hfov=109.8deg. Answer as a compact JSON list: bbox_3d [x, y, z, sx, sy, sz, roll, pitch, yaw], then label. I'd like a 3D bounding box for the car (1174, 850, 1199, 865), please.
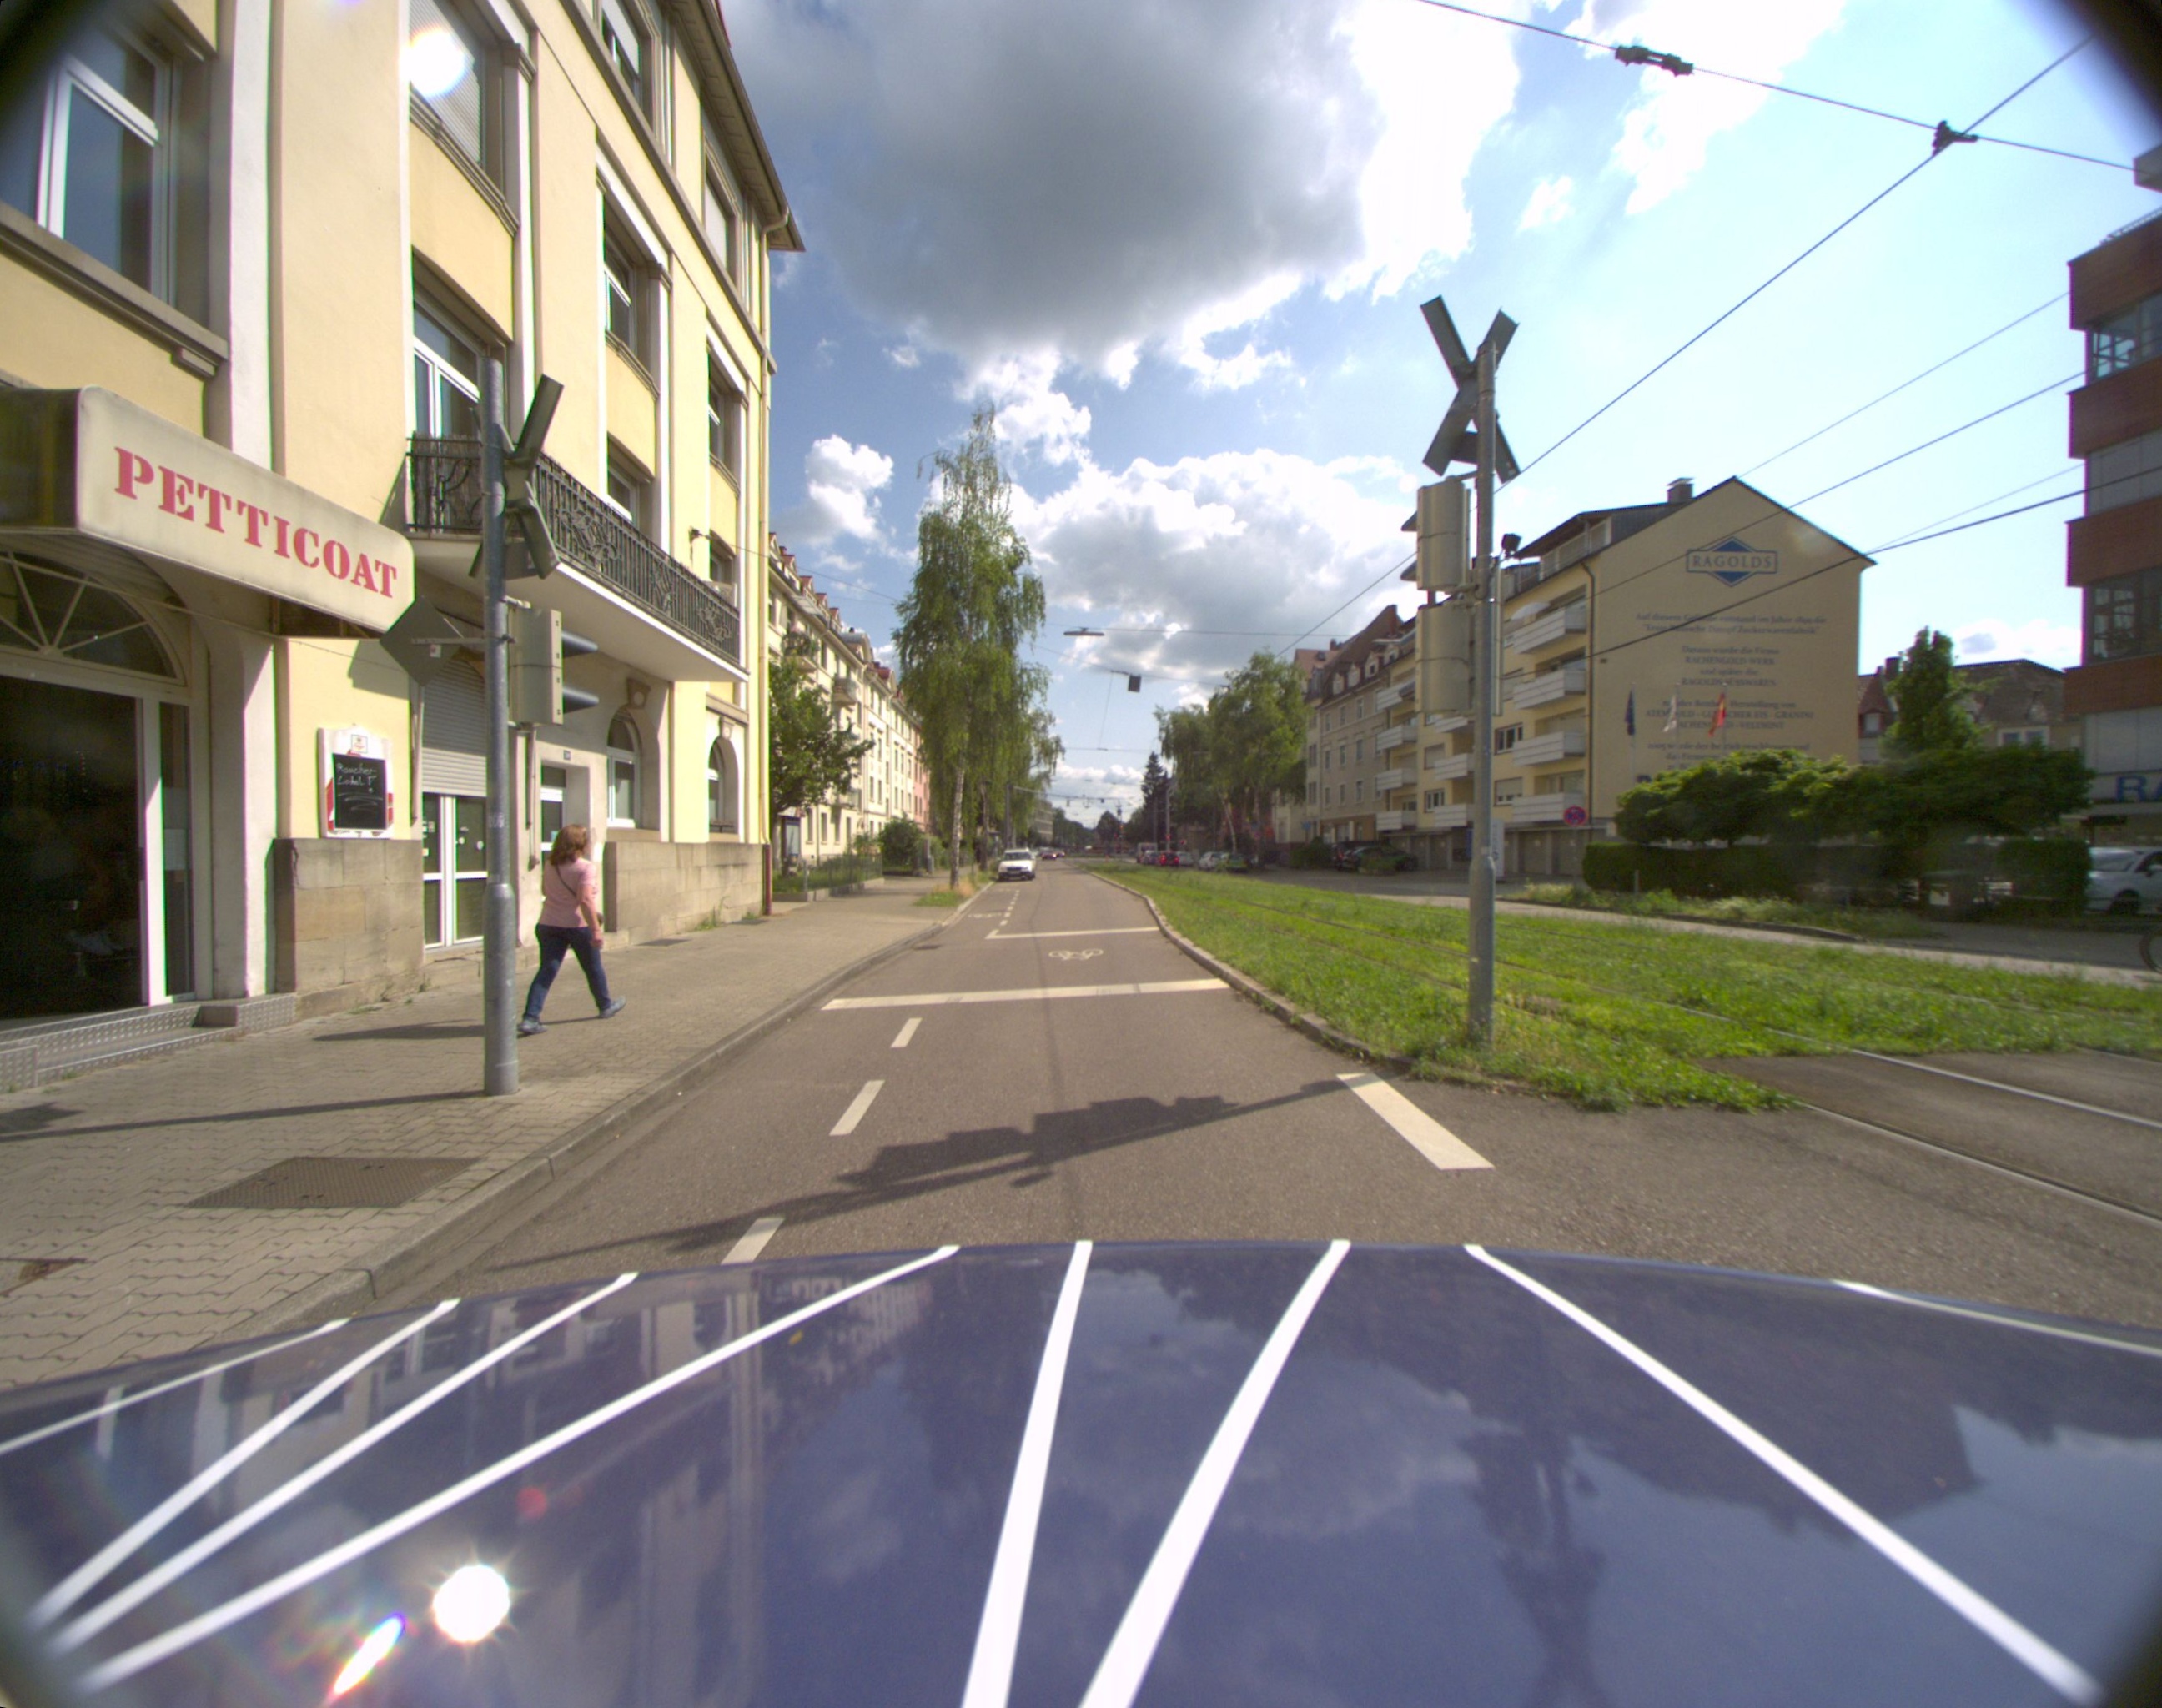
[{"bbox_3d":[10.226,0.338,73.936,1.760,1.348,3.994,1,1,-1],"label":"car"}]

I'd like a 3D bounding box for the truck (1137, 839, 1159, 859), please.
[{"bbox_3d":[7.876,-0.592,89.856,2.190,2.201,6.612,1,0,2],"label":"truck"}]

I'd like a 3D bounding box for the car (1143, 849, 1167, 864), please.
[{"bbox_3d":[7.162,0.238,73.861,1.760,1.348,4.510,2,1,-1],"label":"car"}]

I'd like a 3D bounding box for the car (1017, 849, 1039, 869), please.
[{"bbox_3d":[-4.235,0.352,61.369,1.624,1.444,3.917,-4,1,-3],"label":"car"}]

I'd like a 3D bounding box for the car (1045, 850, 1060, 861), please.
[{"bbox_3d":[-3.774,0.132,99.876,1.741,1.313,3.999,-2,1,1],"label":"car"}]

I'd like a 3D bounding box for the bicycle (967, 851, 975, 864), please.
[{"bbox_3d":[-9.283,0.266,64.100,0.473,1.071,2.182,0,1,-2],"label":"bicycle"}]

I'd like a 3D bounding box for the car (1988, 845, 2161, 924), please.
[{"bbox_3d":[22.676,0.593,16.441,3.999,1.587,1.999,0,1,-6],"label":"car"}]

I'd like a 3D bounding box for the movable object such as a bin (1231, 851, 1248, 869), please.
[{"bbox_3d":[12.902,0.463,61.850,0.953,1.421,1.521,-2,1,-4],"label":"movable object such as a bin"}]

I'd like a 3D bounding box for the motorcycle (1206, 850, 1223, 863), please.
[{"bbox_3d":[12.458,0.201,71.151,0.903,1.235,2.292,0,1,-9],"label":"motorcycle"}]

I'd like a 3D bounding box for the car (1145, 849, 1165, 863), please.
[{"bbox_3d":[7.739,0.213,80.242,1.759,1.406,4.133,2,1,1],"label":"car"}]

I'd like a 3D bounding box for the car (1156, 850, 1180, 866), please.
[{"bbox_3d":[7.570,0.320,66.436,1.583,1.379,3.691,1,1,-2],"label":"car"}]

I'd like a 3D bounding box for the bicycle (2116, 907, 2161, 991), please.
[{"bbox_3d":[13.264,1.155,8.350,0.682,0.965,2.177,1,1,-5],"label":"bicycle"}]

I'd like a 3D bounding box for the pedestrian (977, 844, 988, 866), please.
[{"bbox_3d":[-7.550,0.084,58.322,0.732,1.673,0.691,2,1,0],"label":"pedestrian"}]

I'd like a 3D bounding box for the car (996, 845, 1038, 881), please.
[{"bbox_3d":[-3.145,0.414,37.957,1.725,1.620,3.999,-2,1,0],"label":"car"}]

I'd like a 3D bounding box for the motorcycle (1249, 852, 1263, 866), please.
[{"bbox_3d":[13.221,0.372,57.416,0.500,1.037,1.631,-3,2,-3],"label":"motorcycle"}]

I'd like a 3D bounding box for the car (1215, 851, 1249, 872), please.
[{"bbox_3d":[10.985,0.542,55.473,1.598,1.424,3.613,1,1,-2],"label":"car"}]

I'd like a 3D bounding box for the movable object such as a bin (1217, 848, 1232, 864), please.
[{"bbox_3d":[12.900,0.149,68.361,0.953,1.359,1.521,-5,1,-3],"label":"movable object such as a bin"}]

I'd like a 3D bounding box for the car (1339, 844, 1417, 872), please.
[{"bbox_3d":[18.321,0.239,47.004,3.998,1.593,1.972,-2,1,-3],"label":"car"}]

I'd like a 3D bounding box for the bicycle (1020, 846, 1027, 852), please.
[{"bbox_3d":[-8.977,-0.787,119.054,0.771,0.885,1.892,0,0,3],"label":"bicycle"}]

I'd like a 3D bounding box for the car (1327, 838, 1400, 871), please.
[{"bbox_3d":[18.443,-0.004,49.717,3.997,2.002,1.937,-2,1,0],"label":"car"}]

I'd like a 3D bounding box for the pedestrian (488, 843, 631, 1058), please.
[{"bbox_3d":[-4.232,0.743,6.218,0.674,1.639,0.763,2,1,-8],"label":"pedestrian"}]

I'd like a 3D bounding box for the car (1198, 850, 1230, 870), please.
[{"bbox_3d":[10.590,0.484,60.650,1.649,1.469,4.224,2,1,-2],"label":"car"}]
